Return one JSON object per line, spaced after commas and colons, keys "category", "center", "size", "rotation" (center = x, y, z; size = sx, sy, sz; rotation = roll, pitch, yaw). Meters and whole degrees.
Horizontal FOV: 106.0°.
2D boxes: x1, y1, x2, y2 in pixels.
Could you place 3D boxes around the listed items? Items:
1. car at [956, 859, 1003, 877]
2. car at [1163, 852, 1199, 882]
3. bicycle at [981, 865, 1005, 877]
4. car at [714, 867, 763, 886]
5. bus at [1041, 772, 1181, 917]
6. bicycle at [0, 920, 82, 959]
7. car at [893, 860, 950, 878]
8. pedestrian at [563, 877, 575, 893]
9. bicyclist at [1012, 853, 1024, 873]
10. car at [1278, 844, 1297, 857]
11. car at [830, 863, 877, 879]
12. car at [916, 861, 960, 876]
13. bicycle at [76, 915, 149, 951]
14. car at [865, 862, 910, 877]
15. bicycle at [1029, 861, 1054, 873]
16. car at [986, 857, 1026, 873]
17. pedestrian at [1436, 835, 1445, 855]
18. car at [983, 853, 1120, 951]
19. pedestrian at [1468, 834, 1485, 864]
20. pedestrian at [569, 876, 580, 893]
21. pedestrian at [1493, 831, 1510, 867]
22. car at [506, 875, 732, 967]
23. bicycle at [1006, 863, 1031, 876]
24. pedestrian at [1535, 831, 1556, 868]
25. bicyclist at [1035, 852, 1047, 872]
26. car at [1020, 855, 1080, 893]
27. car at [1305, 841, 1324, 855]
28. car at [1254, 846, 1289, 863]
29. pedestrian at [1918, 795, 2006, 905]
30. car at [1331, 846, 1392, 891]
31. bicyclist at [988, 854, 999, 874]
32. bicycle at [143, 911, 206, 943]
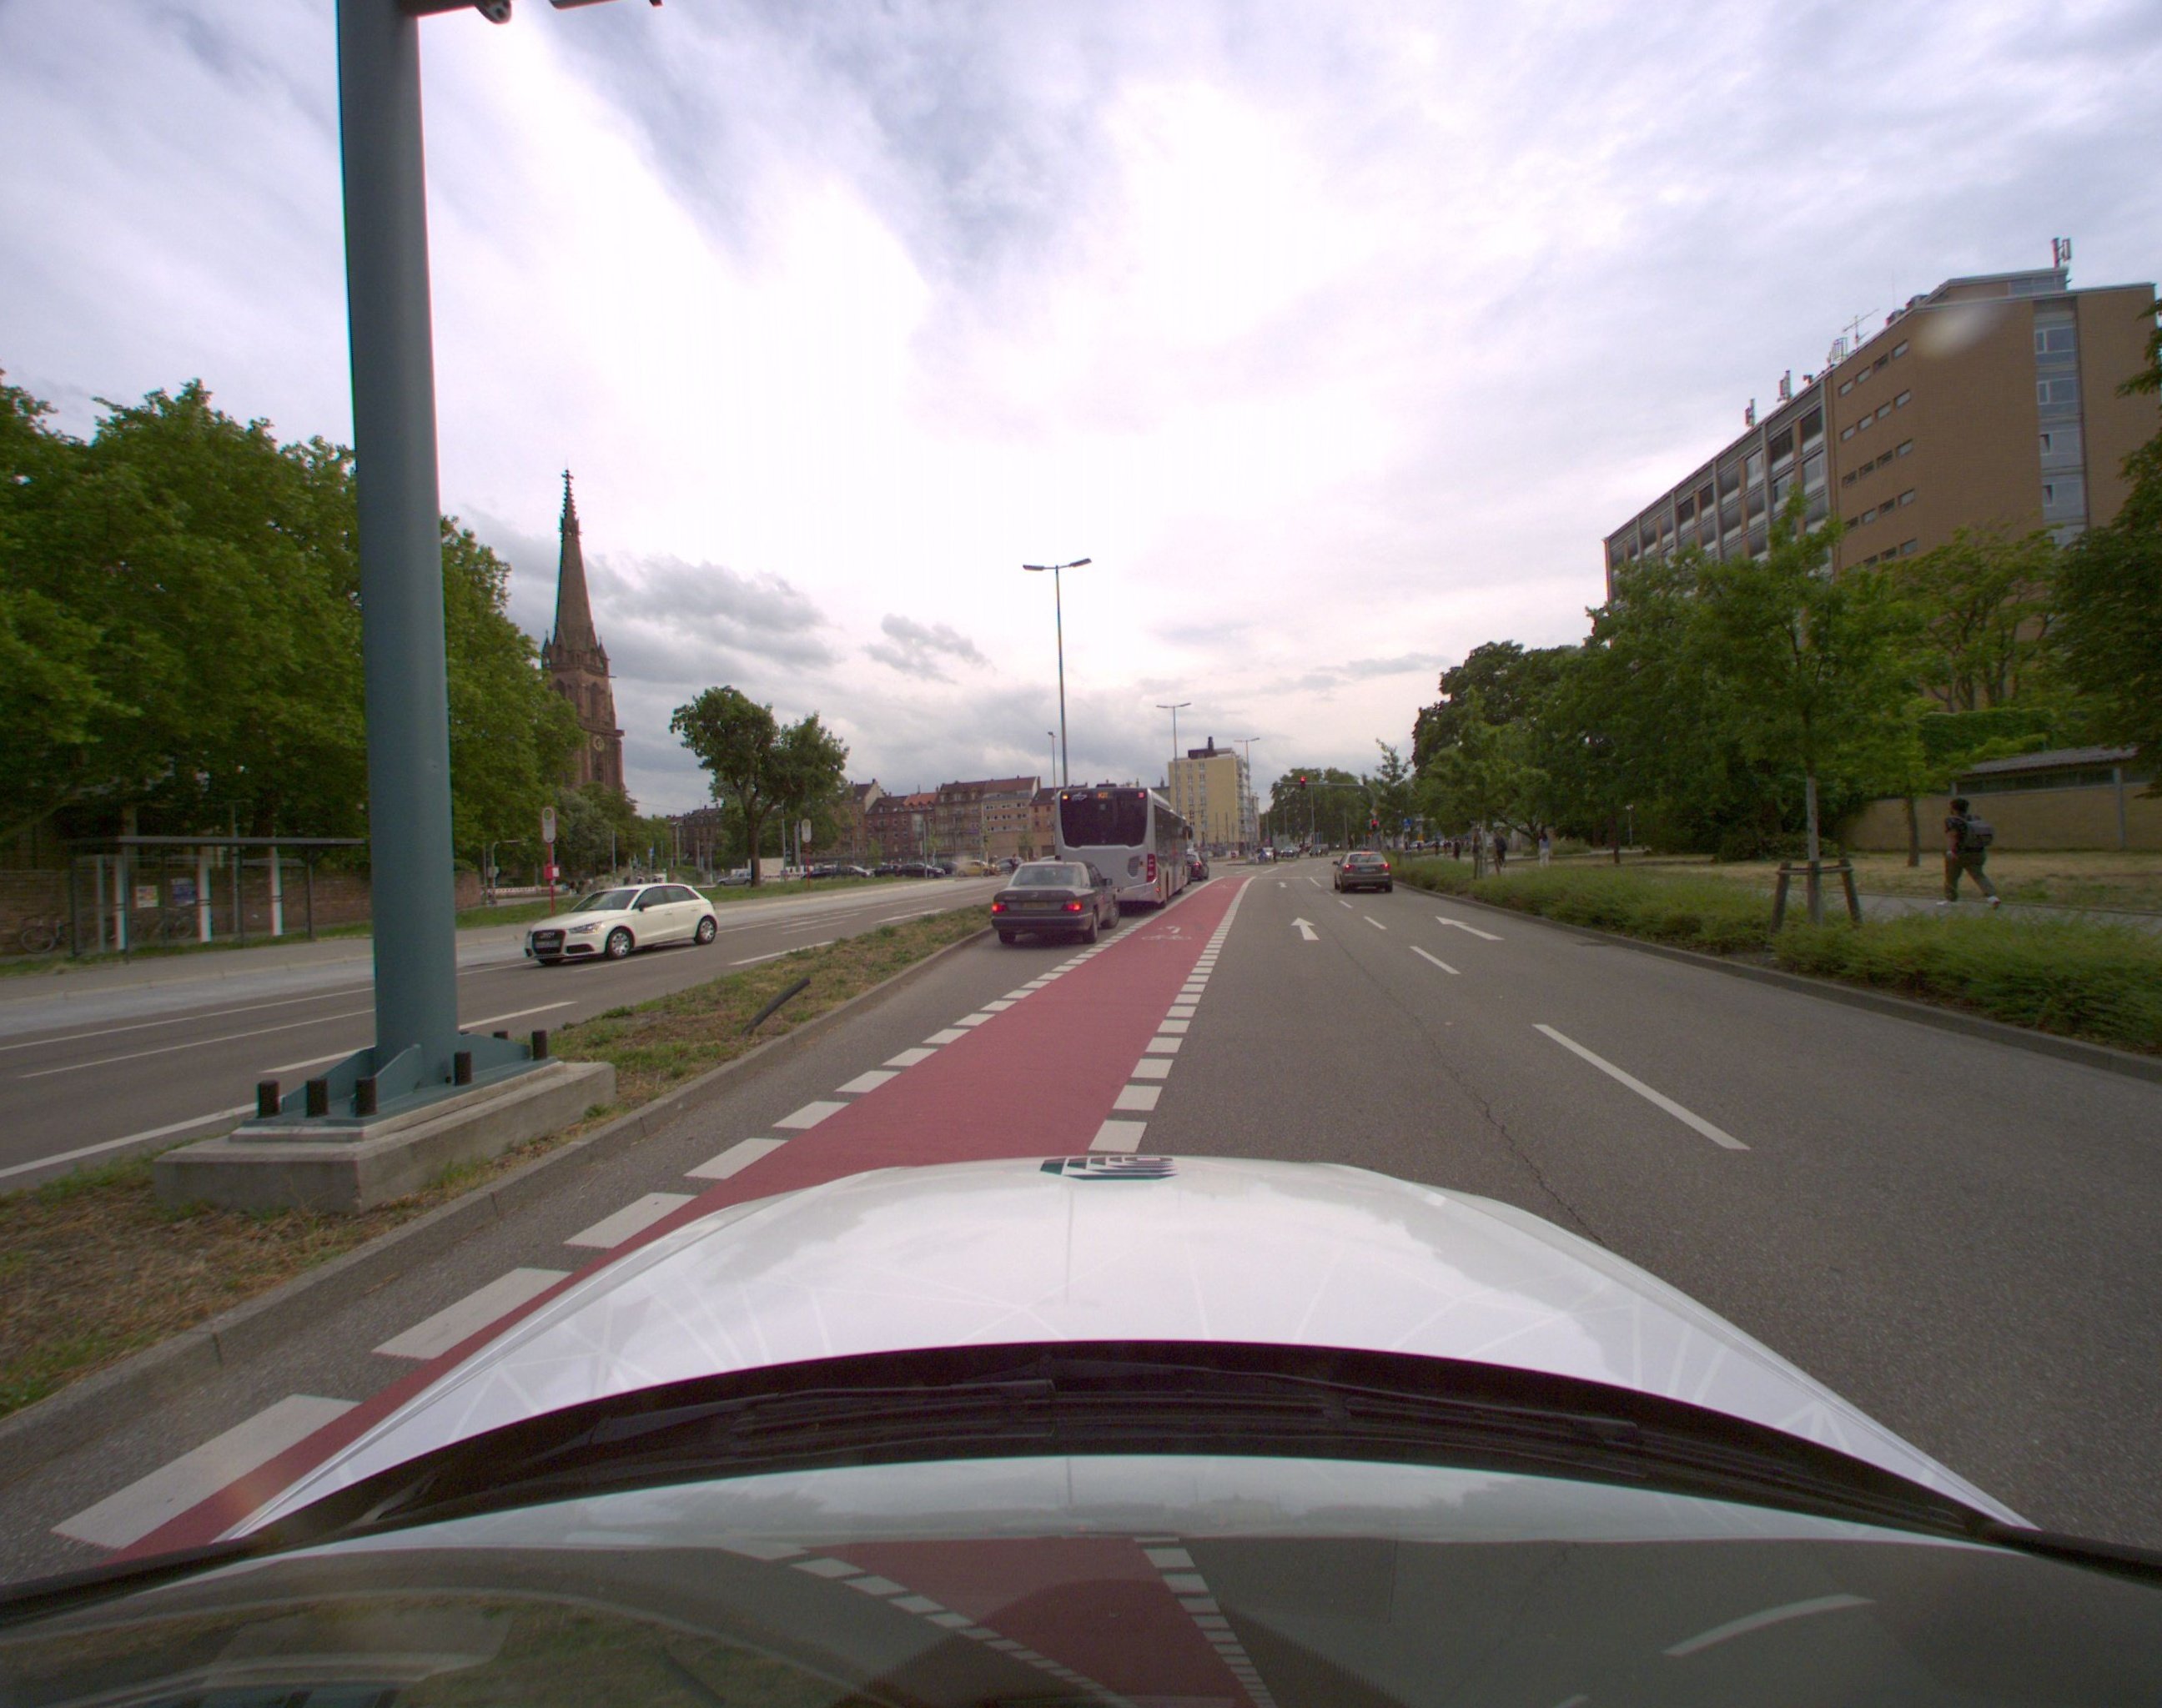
{"category": "car", "center": [-9.013, 1.221, 72.589], "size": [3.836, 1.517, 1.664], "rotation": [-1, 0, 7]}
{"category": "car", "center": [5.243, 0.640, 42.257], "size": [1.645, 1.396, 3.870], "rotation": [-2, 0, 9]}
{"category": "bicycle", "center": [-7.540, 1.451, 69.870], "size": [1.954, 0.982, 0.632], "rotation": [-3, 0, 7]}
{"category": "car", "center": [-34.022, 2.215, 80.980], "size": [4.133, 1.649, 1.650], "rotation": [-3, 0, 6]}
{"category": "bus", "center": [1.198, -0.252, 23.815], "size": [2.814, 3.390, 8.206], "rotation": [-2, 0, 10]}
{"category": "bicycle", "center": [-28.066, 2.292, 21.968], "size": [0.481, 0.907, 1.614], "rotation": [0, -1, -12]}
{"category": "car", "center": [-14.227, 1.325, 72.846], "size": [4.644, 1.475, 1.664], "rotation": [-1, 0, 7]}
{"category": "pedestrian", "center": [-49.101, 2.966, 78.076], "size": [0.558, 1.560, 0.727], "rotation": [-3, 0, 6]}
{"category": "bicyclist", "center": [-5.335, 0.794, 69.282], "size": [0.781, 1.643, 0.574], "rotation": [-3, 0, 11]}
{"category": "car", "center": [30.876, -0.512, 121.614], "size": [1.789, 1.850, 4.025], "rotation": [-3, 0, 28]}
{"category": "car", "center": [-20.613, 1.521, 73.910], "size": [3.743, 1.394, 1.588], "rotation": [-1, 0, 7]}
{"category": "car", "center": [-13.546, 1.368, 77.368], "size": [3.743, 1.394, 1.588], "rotation": [-1, 0, 7]}
{"category": "bicycle", "center": [-28.619, 2.307, 24.086], "size": [0.481, 0.907, 1.614], "rotation": [0, -1, -12]}
{"category": "car", "center": [-18.482, 1.478, 77.813], "size": [3.743, 1.394, 1.588], "rotation": [-1, 0, 7]}
{"category": "bicycle", "center": [-3.307, 1.094, 68.637], "size": [1.952, 0.982, 0.632], "rotation": [-3, 0, 9]}
{"category": "car", "center": [-7.086, 1.018, 77.024], "size": [3.669, 1.394, 1.580], "rotation": [-1, 0, -8]}
{"category": "pedestrian", "center": [36.731, -0.905, 83.161], "size": [0.610, 2.013, 0.599], "rotation": [-2, 0, 11]}
{"category": "car", "center": [-0.385, 0.783, 15.270], "size": [1.751, 1.489, 4.181], "rotation": [-2, 0, 9]}
{"category": "pedestrian", "center": [22.786, -0.298, 46.977], "size": [0.794, 1.713, 0.769], "rotation": [-3, 0, 25]}
{"category": "pedestrian", "center": [-48.209, 2.946, 77.530], "size": [0.558, 1.560, 0.727], "rotation": [-3, 0, 6]}
{"category": "pedestrian", "center": [20.234, -0.236, 39.171], "size": [0.640, 1.713, 0.565], "rotation": [-3, 0, 27]}
{"category": "car", "center": [-9.079, 1.256, 16.434], "size": [1.659, 1.389, 3.936], "rotation": [-5, 0, 12]}
{"category": "bicycle", "center": [-5.289, 1.332, 69.271], "size": [1.952, 0.982, 0.633], "rotation": [-3, 0, 10]}
{"category": "pedestrian", "center": [18.741, -0.182, 32.886], "size": [0.651, 1.470, 0.565], "rotation": [-3, 0, 29]}
{"category": "bicyclist", "center": [-3.382, 0.637, 68.647], "size": [0.781, 1.643, 0.615], "rotation": [-3, 0, 9]}
{"category": "car", "center": [-1.400, 0.915, 38.997], "size": [1.742, 1.489, 4.393], "rotation": [-3, 1, 12]}
{"category": "car", "center": [38.246, -0.987, 133.203], "size": [1.974, 2.013, 4.026], "rotation": [-3, 0, 31]}
{"category": "car", "center": [26.371, 0.022, 112.656], "size": [2.558, 2.109, 5.637], "rotation": [-3, 0, 38]}
{"category": "pedestrian", "center": [14.064, -0.060, 13.021], "size": [0.583, 1.682, 0.751], "rotation": [-3, 0, 12]}
{"category": "car", "center": [10.111, 0.487, 29.571], "size": [1.712, 1.457, 3.750], "rotation": [-2, 0, 13]}
{"category": "bicyclist", "center": [-7.516, 0.872, 69.869], "size": [0.782, 1.643, 0.573], "rotation": [-3, 0, 7]}
{"category": "bicycle", "center": [-28.965, 2.318, 26.057], "size": [0.481, 0.907, 1.614], "rotation": [0, -1, -12]}
